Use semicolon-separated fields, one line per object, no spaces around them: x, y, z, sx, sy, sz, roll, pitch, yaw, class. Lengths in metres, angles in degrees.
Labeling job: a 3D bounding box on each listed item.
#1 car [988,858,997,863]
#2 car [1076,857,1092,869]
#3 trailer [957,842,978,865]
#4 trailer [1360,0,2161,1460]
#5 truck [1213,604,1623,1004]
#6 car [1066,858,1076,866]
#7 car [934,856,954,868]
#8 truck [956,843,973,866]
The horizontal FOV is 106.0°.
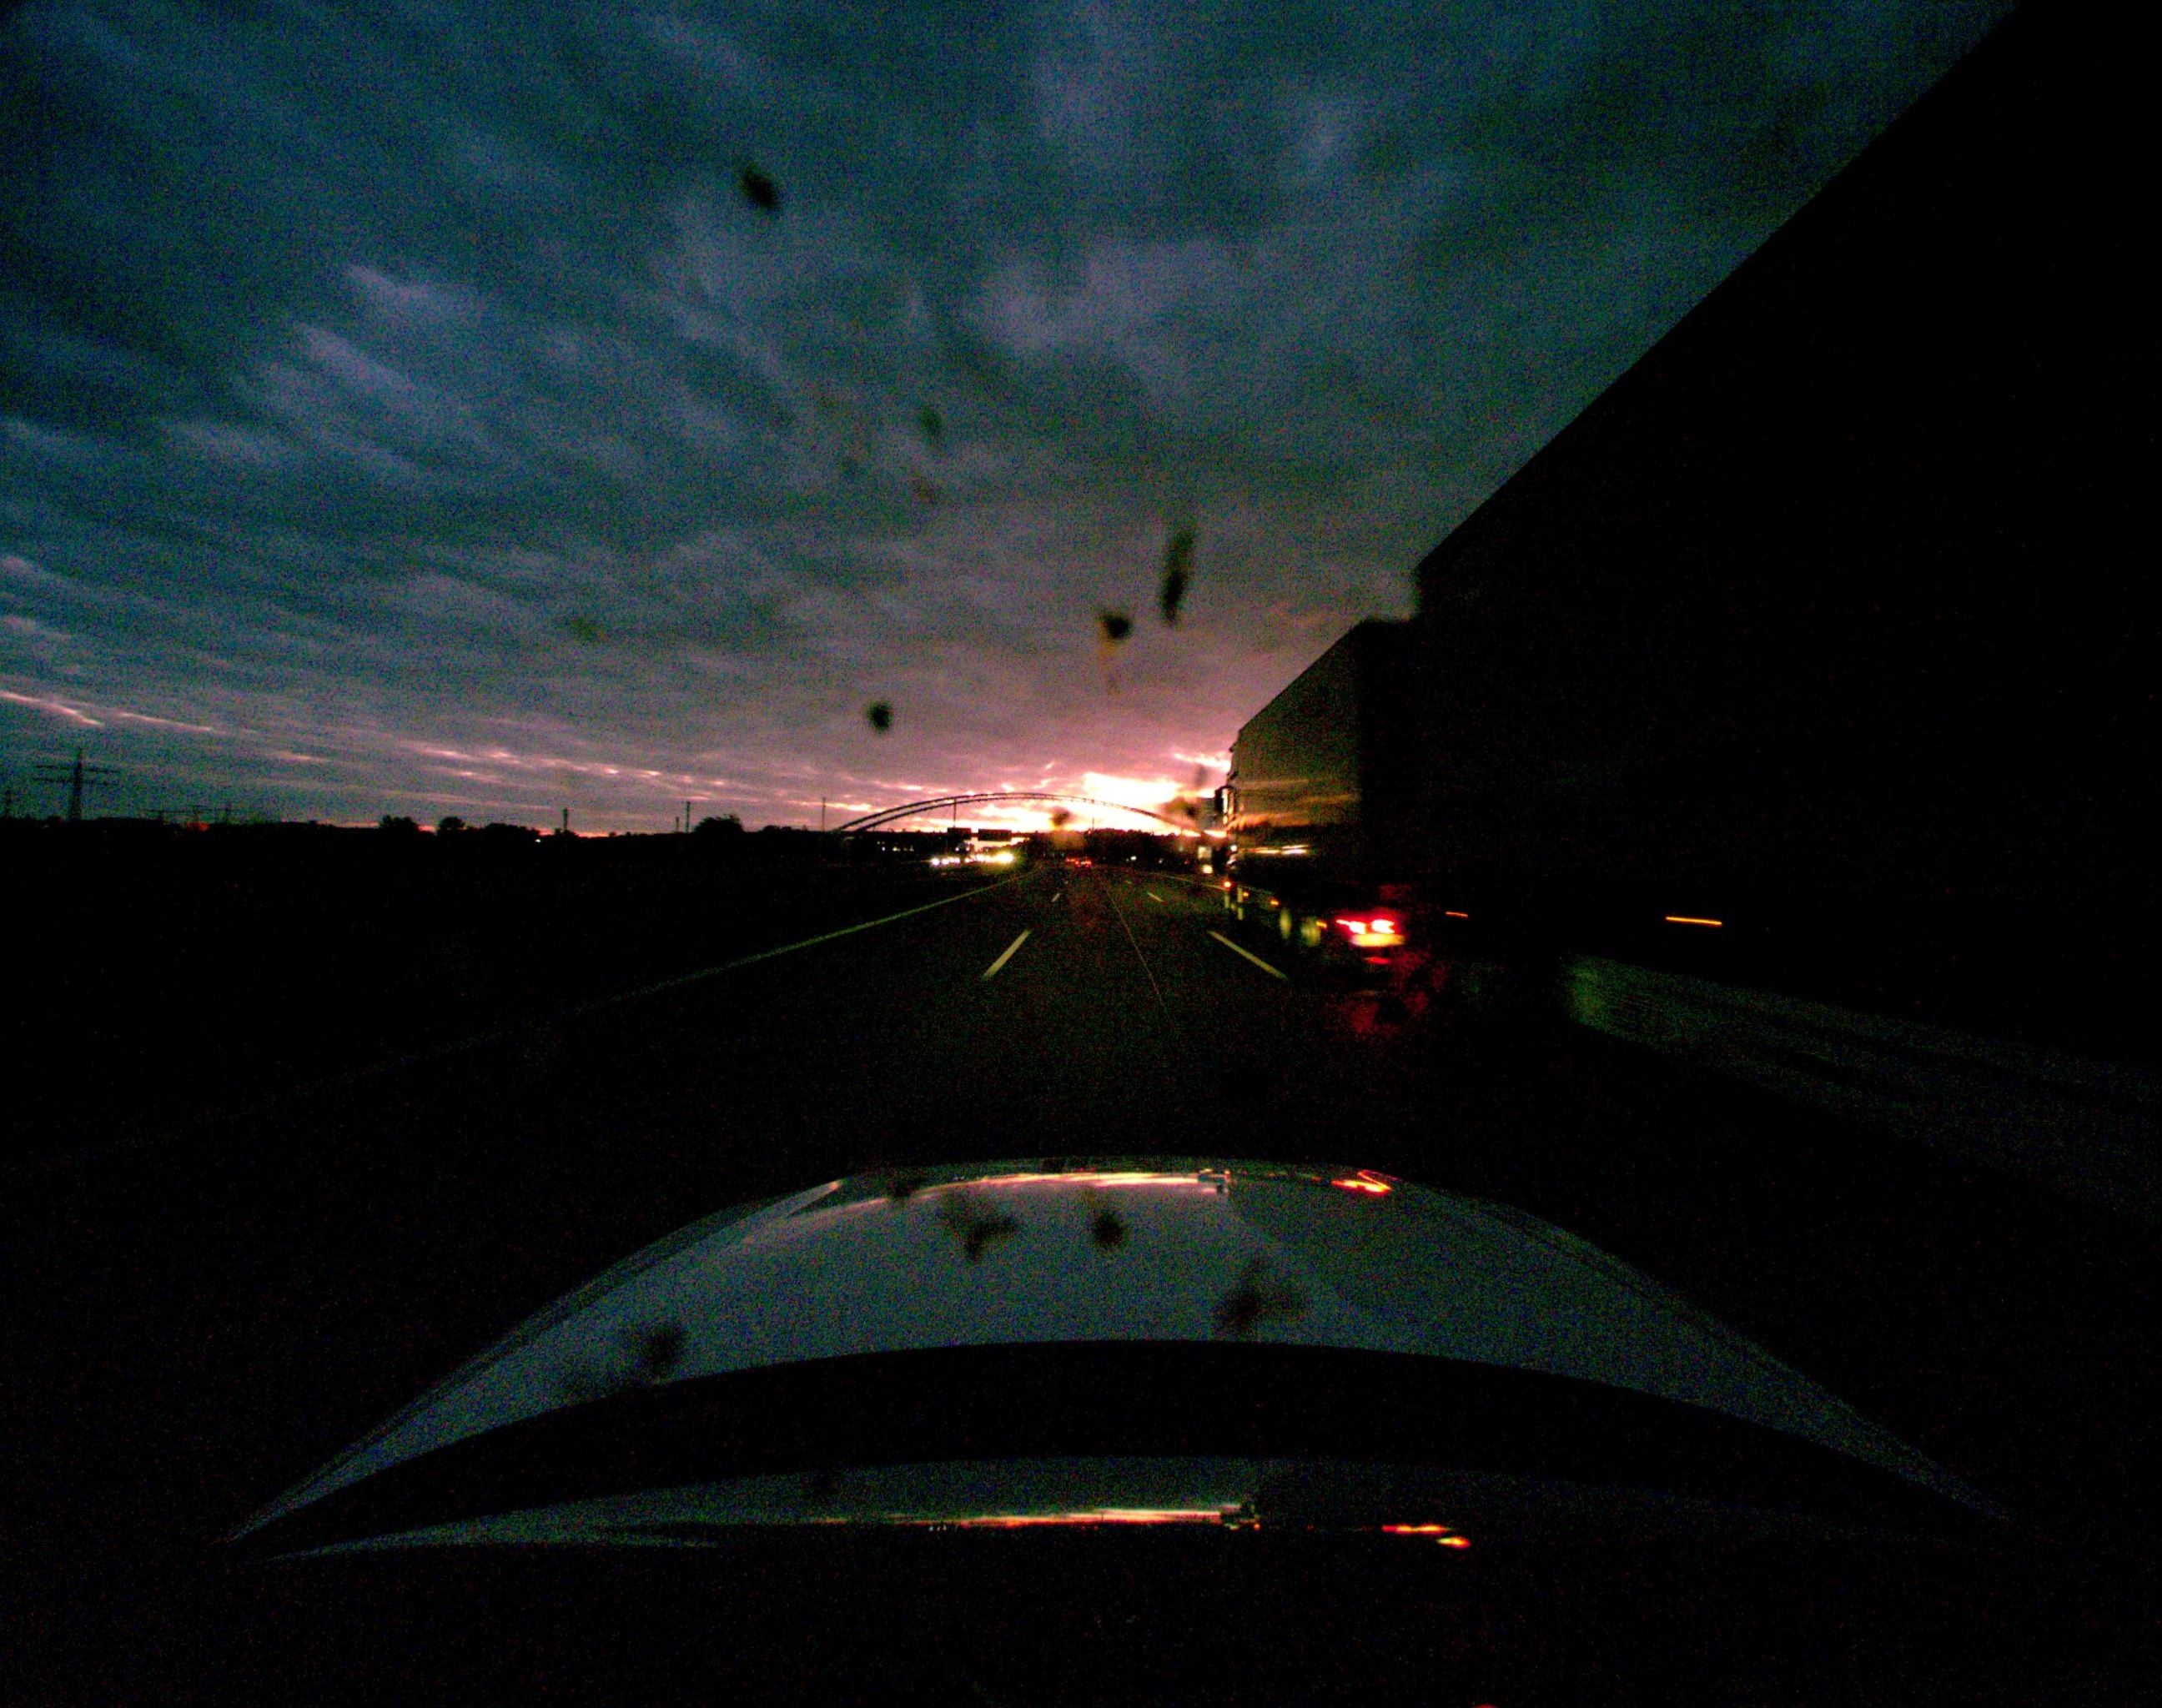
-22.134;1.594;203.241;1.988;1.404;4.326;0;0;-2;car
0.334;1.151;98.719;1.686;1.401;3.404;0;-2;-3;car
-23.141;0.000;167.250;2.817;4.507;14.614;0;0;-2;trailer
4.055;-0.538;3.721;2.712;4.071;8.833;0;0;1;trailer
4.286;-0.491;13.557;2.680;4.071;10.522;0;0;1;truck
-1.935;1.544;157.935;1.682;1.401;3.411;-1;-2;4;car
-20.138;1.153;119.592;1.986;1.625;4.845;0;0;2;car
-22.951;0.062;160.747;2.818;4.507;6.239;0;0;-2;truck
